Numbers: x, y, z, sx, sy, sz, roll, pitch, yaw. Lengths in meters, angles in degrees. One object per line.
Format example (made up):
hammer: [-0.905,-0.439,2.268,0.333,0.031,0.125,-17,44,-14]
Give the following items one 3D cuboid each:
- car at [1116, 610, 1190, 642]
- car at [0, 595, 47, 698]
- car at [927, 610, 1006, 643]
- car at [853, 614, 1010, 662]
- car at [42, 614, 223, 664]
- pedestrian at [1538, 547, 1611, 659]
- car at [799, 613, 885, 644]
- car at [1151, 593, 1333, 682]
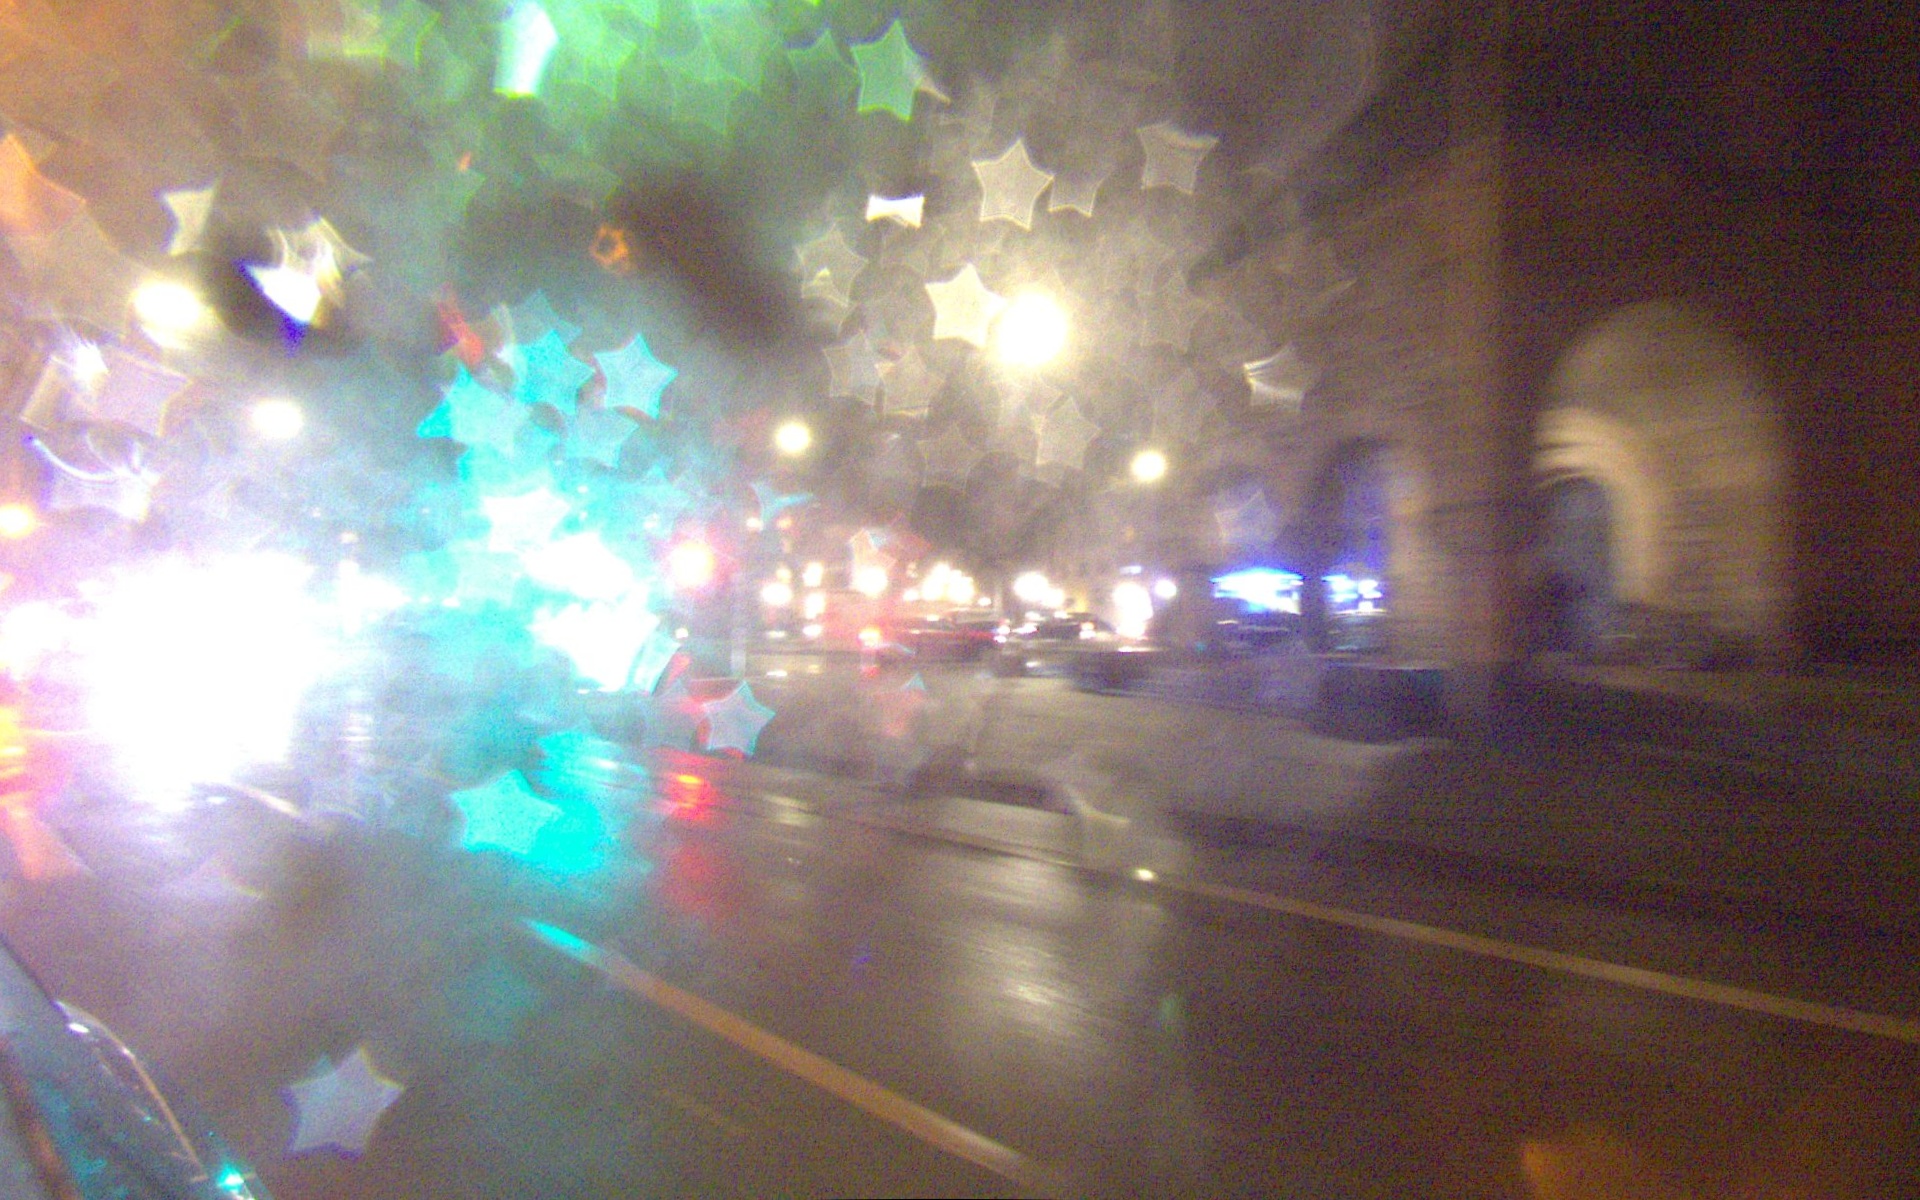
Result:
car: [11.569,1.560,60.608,3.931,1.852,1.860,0,-1,-19]
car: [-18.350,0.819,18.723,4.272,1.783,1.786,-1,-2,43]
car: [0.369,1.431,56.122,3.931,1.785,2.006,0,-1,-21]
car: [-0.935,1.181,32.518,4.649,1.436,2.006,0,-1,-18]
car: [-25.318,1.151,30.976,5.030,1.436,1.987,0,-1,20]
pedestrian: [9.457,0.054,15.600,0.785,1.688,0.626,-1,0,16]
car: [-6.271,1.505,53.773,4.147,1.578,1.856,0,-1,-22]
car: [5.975,0.828,21.940,1.671,1.741,4.013,2,-3,-23]
